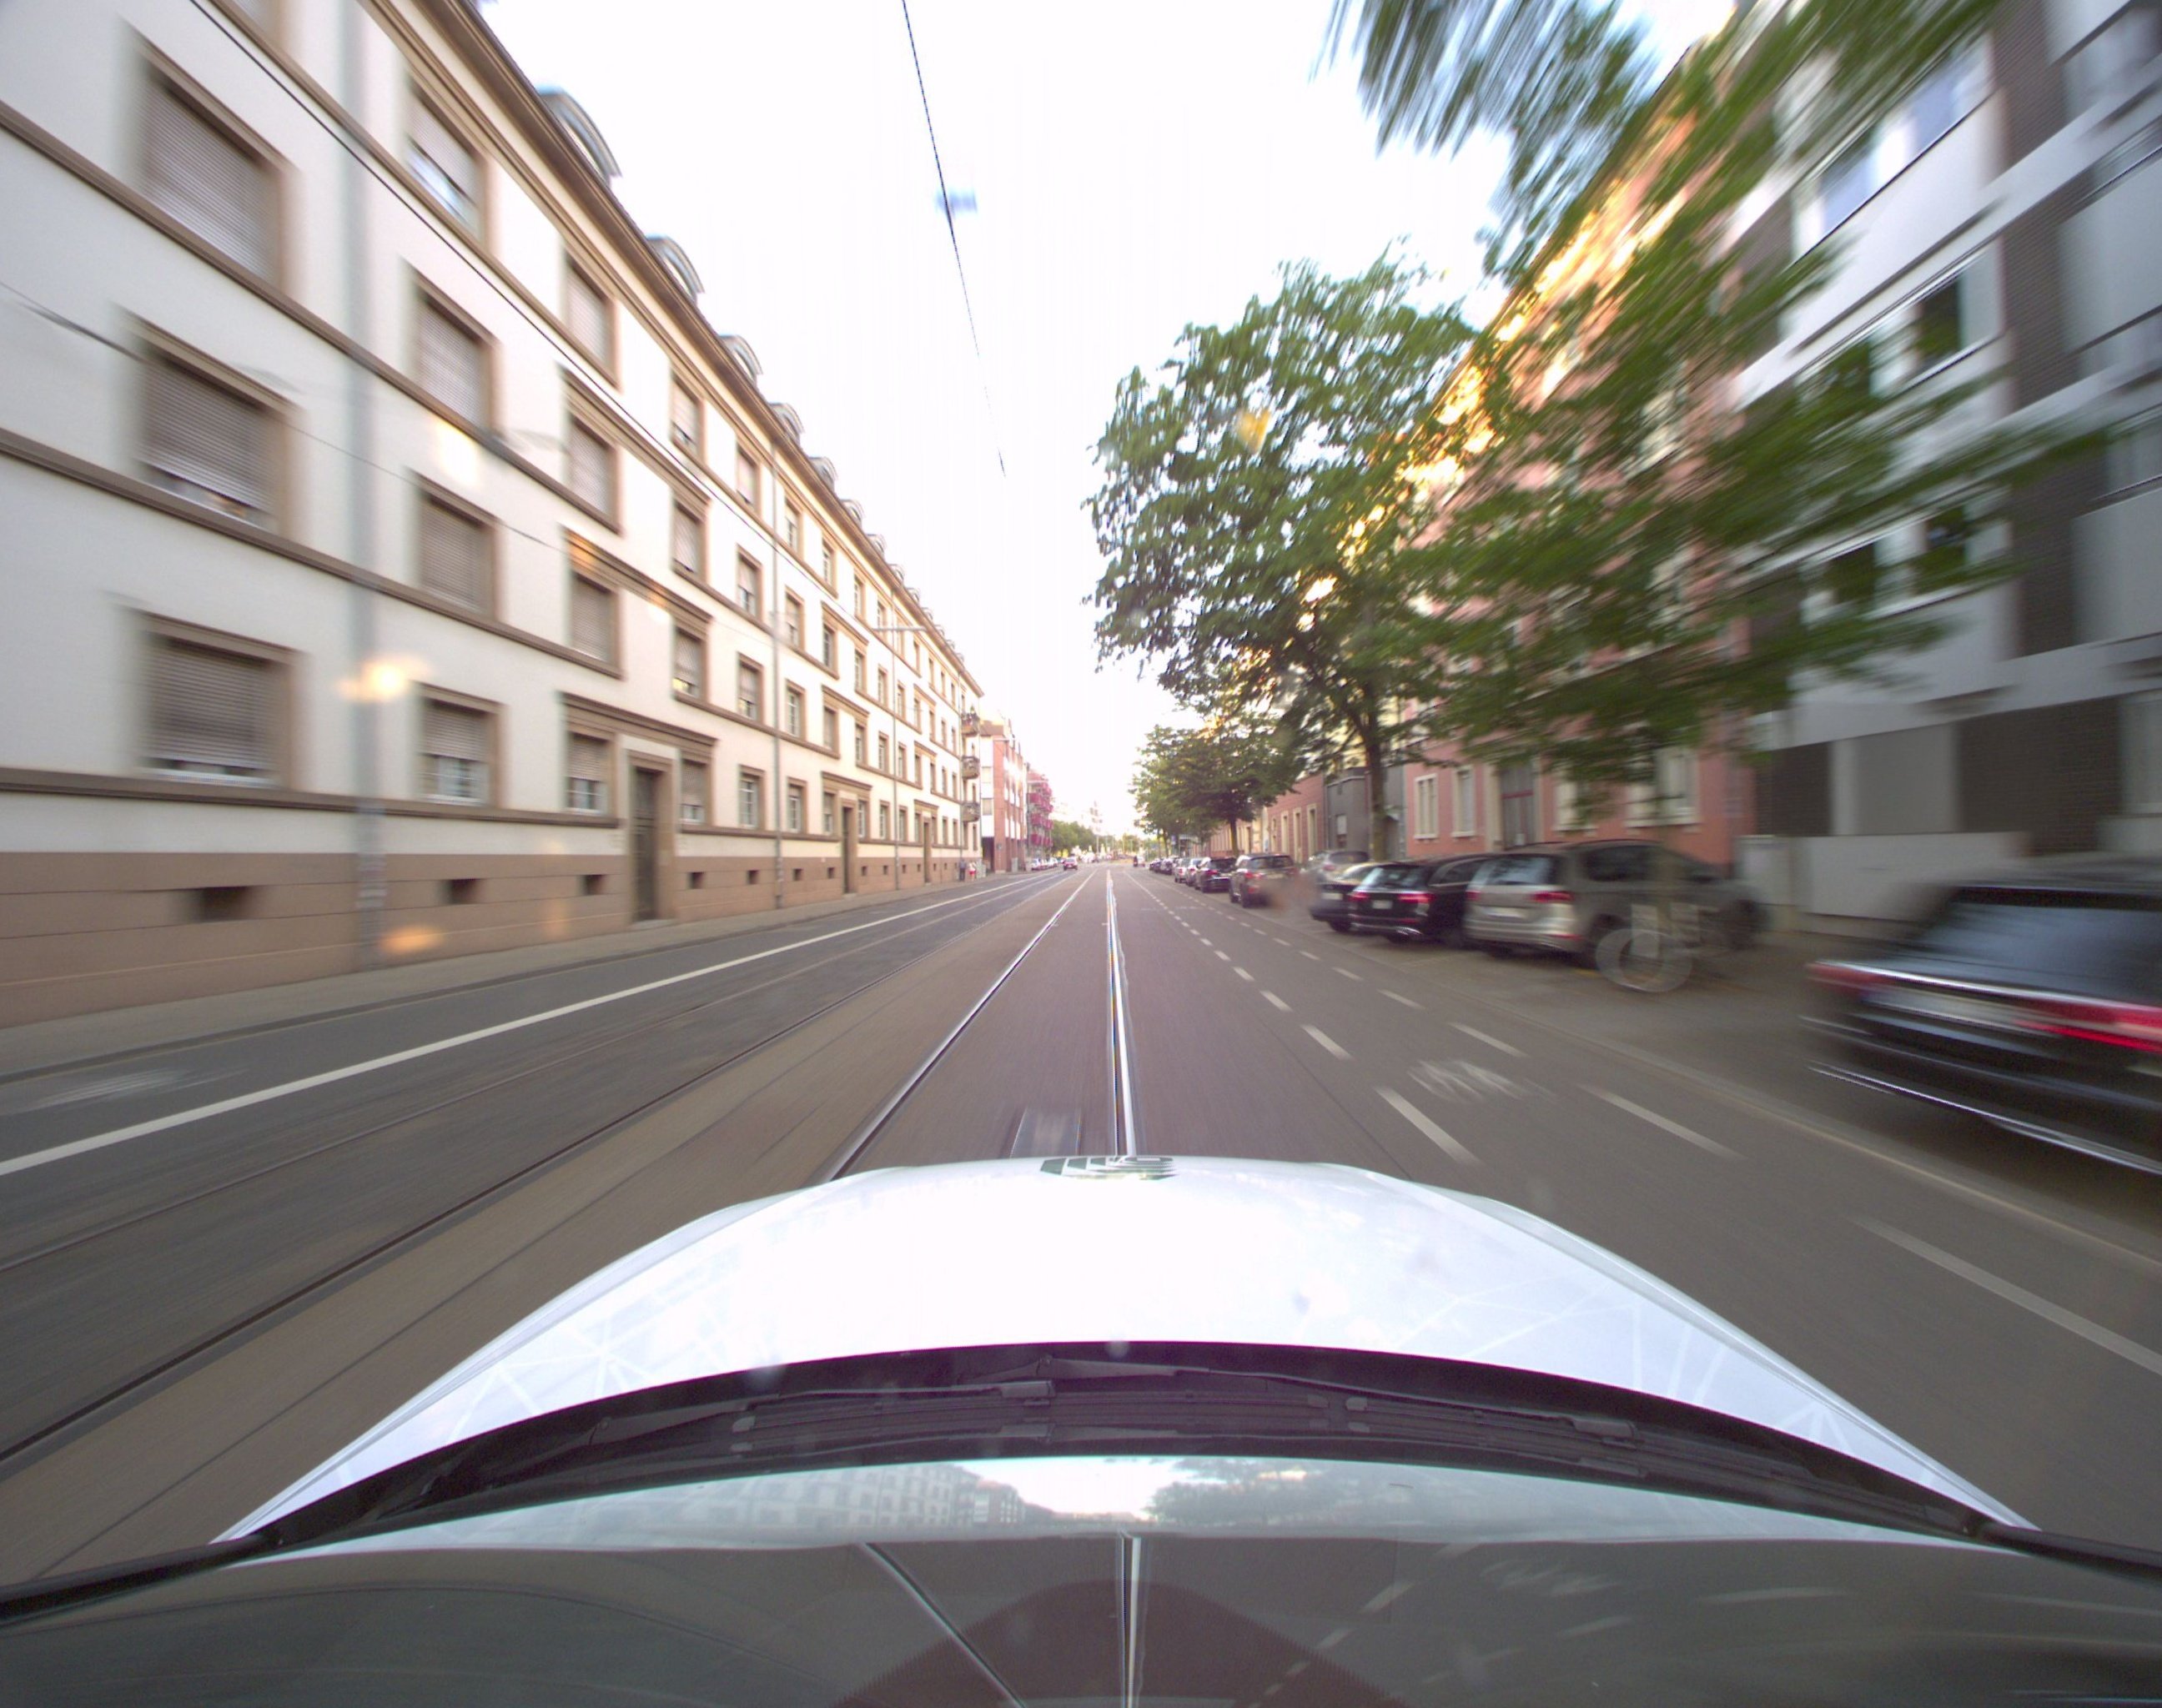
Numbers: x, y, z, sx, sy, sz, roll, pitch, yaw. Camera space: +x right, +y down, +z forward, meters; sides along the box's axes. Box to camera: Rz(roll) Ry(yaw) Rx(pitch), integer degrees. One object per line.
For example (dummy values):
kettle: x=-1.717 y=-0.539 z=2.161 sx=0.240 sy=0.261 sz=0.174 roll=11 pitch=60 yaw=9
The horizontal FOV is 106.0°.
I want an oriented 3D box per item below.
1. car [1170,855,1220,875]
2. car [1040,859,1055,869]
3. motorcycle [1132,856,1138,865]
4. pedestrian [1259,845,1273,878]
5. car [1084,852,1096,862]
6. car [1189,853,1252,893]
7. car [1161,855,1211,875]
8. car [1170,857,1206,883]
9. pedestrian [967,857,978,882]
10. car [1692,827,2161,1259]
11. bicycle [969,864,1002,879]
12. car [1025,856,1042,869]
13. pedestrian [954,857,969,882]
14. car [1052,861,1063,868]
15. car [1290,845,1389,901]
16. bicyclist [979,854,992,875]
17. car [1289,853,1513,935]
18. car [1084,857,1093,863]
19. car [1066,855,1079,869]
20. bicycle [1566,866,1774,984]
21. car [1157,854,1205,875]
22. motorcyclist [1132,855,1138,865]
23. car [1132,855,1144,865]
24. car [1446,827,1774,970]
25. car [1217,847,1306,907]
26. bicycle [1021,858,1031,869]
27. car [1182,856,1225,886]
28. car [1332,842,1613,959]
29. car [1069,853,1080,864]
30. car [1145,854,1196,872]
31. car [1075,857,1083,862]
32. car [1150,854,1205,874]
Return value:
car: x=8.852 y=0.838 z=63.191 sx=3.491 sy=1.429 sz=1.611 roll=-2 pitch=-2 yaw=-18
car: x=-5.037 y=1.447 z=122.468 sx=1.684 sy=1.414 sz=4.682 roll=1 pitch=0 yaw=4
motorcycle: x=7.606 y=0.928 z=114.896 sx=0.824 sy=1.240 sz=2.495 roll=-1 pitch=0 yaw=5
pedestrian: x=10.522 y=0.416 z=46.342 sx=0.678 sy=1.816 sz=0.600 roll=-1 pitch=-1 yaw=2
car: x=2.358 y=0.887 z=210.731 sx=2.449 sy=2.482 sz=5.817 roll=-1 pitch=0 yaw=5
car: x=5.925 y=0.773 z=35.076 sx=1.986 sy=1.489 sz=5.038 roll=-2 pitch=0 yaw=2
car: x=8.424 y=0.889 z=65.296 sx=3.571 sy=1.429 sz=1.656 roll=-2 pitch=0 yaw=-24
car: x=6.249 y=0.890 z=47.838 sx=1.613 sy=1.381 sz=3.777 roll=-3 pitch=0 yaw=2
pedestrian: x=-7.364 y=1.048 z=55.221 sx=0.589 sy=1.609 sz=0.811 roll=-1 pitch=-1 yaw=-1
car: x=5.653 y=0.605 z=3.758 sx=4.363 sy=1.464 sz=1.720 roll=-2 pitch=0 yaw=0
bicycle: x=-9.269 y=1.683 z=78.997 sx=3.167 sy=1.354 sz=0.955 roll=-2 pitch=-1 yaw=-7
car: x=-5.962 y=1.063 z=102.246 sx=1.710 sy=1.555 sz=4.206 roll=0 pitch=0 yaw=2
pedestrian: x=-8.091 y=1.040 z=55.172 sx=0.793 sy=1.701 sz=0.981 roll=-1 pitch=-1 yaw=-1
car: x=-5.565 y=2.507 z=195.394 sx=1.672 sy=1.700 sz=4.252 roll=-1 pitch=0 yaw=11
car: x=8.007 y=0.560 z=25.638 sx=1.873 sy=1.584 sz=4.021 roll=-2 pitch=0 yaw=1
bicyclist: x=-9.242 y=1.029 z=79.001 sx=1.213 sy=2.014 sz=0.945 roll=-1 pitch=0 yaw=-7
car: x=6.385 y=0.720 z=16.202 sx=4.269 sy=1.388 sz=1.608 roll=-1 pitch=0 yaw=-24
car: x=1.913 y=1.482 z=205.008 sx=1.673 sy=1.439 sz=4.136 roll=-1 pitch=0 yaw=9
car: x=-1.044 y=0.999 z=100.622 sx=1.554 sy=1.558 sz=3.753 roll=-3 pitch=0 yaw=-1
bicycle: x=6.391 y=0.740 z=8.882 sx=1.793 sy=1.144 sz=0.730 roll=-2 pitch=0 yaw=-7
car: x=8.332 y=0.871 z=68.070 sx=3.571 sy=1.516 sz=1.730 roll=-2 pitch=0 yaw=-24
motorcyclist: x=7.608 y=0.852 z=114.906 sx=0.824 sy=1.473 sz=1.209 roll=-1 pitch=0 yaw=5
car: x=8.687 y=0.873 z=123.844 sx=1.709 sy=1.555 sz=4.207 roll=-1 pitch=0 yaw=3
car: x=7.259 y=0.505 z=11.204 sx=4.000 sy=1.593 sz=1.708 roll=-2 pitch=1 yaw=-20
car: x=5.551 y=0.669 z=25.586 sx=1.873 sy=1.618 sz=4.263 roll=-4 pitch=0 yaw=1
bicycle: x=-6.581 y=1.136 z=97.664 sx=0.605 sy=1.377 sz=2.264 roll=-1 pitch=0 yaw=10
car: x=6.296 y=0.835 z=42.299 sx=1.772 sy=1.381 sz=4.696 roll=-3 pitch=0 yaw=4
car: x=6.310 y=0.658 z=13.217 sx=3.970 sy=1.553 sz=1.710 roll=-2 pitch=1 yaw=-16
car: x=-1.958 y=1.406 z=247.928 sx=2.188 sy=3.152 sz=6.159 roll=-1 pitch=0 yaw=10
car: x=8.716 y=0.854 z=79.136 sx=4.625 sy=1.457 sz=1.697 roll=-3 pitch=0 yaw=-23
car: x=-0.516 y=1.748 z=256.588 sx=1.672 sy=1.501 sz=4.251 roll=-1 pitch=0 yaw=10
car: x=8.700 y=0.894 z=73.170 sx=4.461 sy=1.516 sz=2.048 roll=-2 pitch=0 yaw=-22
